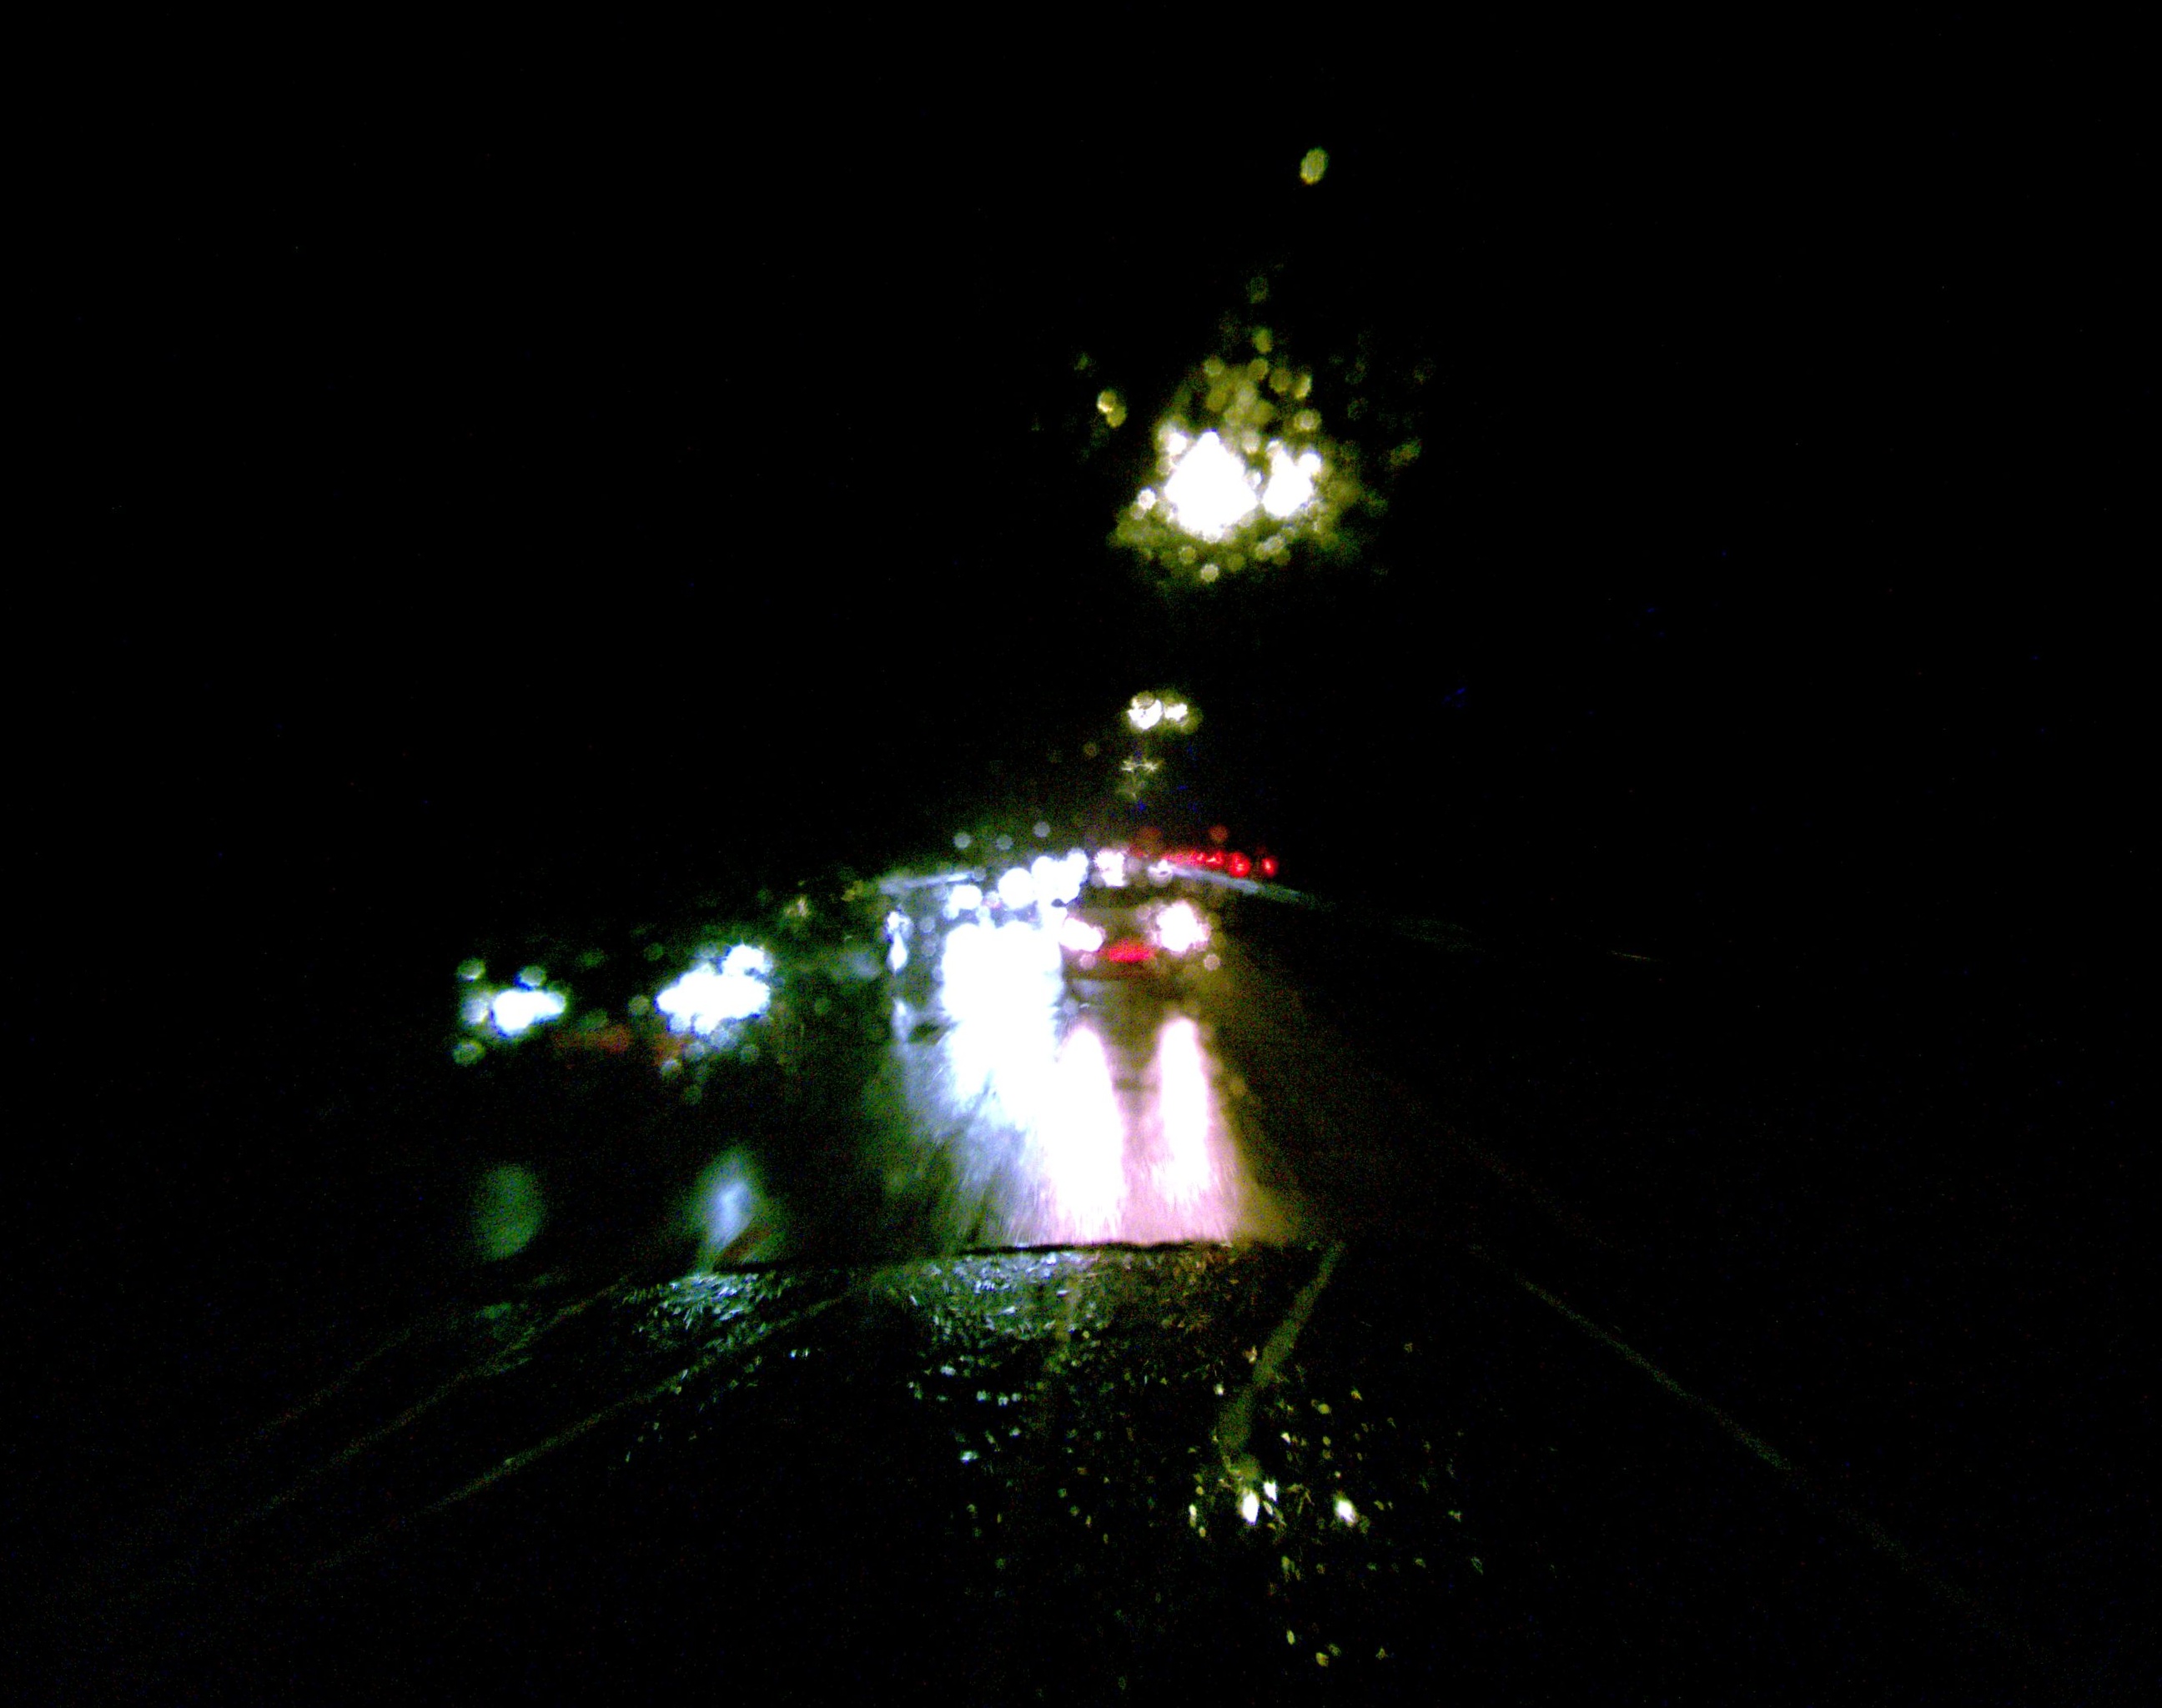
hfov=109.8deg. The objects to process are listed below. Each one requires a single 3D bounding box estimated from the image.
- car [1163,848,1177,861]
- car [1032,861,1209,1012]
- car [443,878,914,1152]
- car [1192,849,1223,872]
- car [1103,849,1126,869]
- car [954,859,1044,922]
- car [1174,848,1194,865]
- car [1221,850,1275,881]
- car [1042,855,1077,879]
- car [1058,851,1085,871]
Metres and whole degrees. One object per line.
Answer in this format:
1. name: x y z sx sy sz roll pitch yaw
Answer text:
1. car: 11.295 0.058 96.612 1.624 1.641 4.001 -1 1 5
2. car: 0.493 0.874 9.874 1.764 1.492 4.001 -3 -1 3
3. car: -3.000 1.069 7.048 1.736 1.440 4.724 -3 0 1
4. car: 9.303 0.466 56.189 1.813 1.559 4.001 2 0 4
5. car: 3.336 0.481 76.307 1.998 1.774 3.999 -3 1 0
6. car: -2.202 0.957 21.645 1.826 1.476 4.568 -2 0 3
7. car: 10.017 0.216 73.878 1.571 1.533 4.162 1 1 3
8. car: 8.303 0.539 38.194 1.820 1.386 4.462 2 0 2
9. car: -1.364 0.834 49.973 1.998 1.455 4.000 -2 0 3
10. car: -0.754 0.574 62.464 1.998 1.531 4.000 -2 0 3
